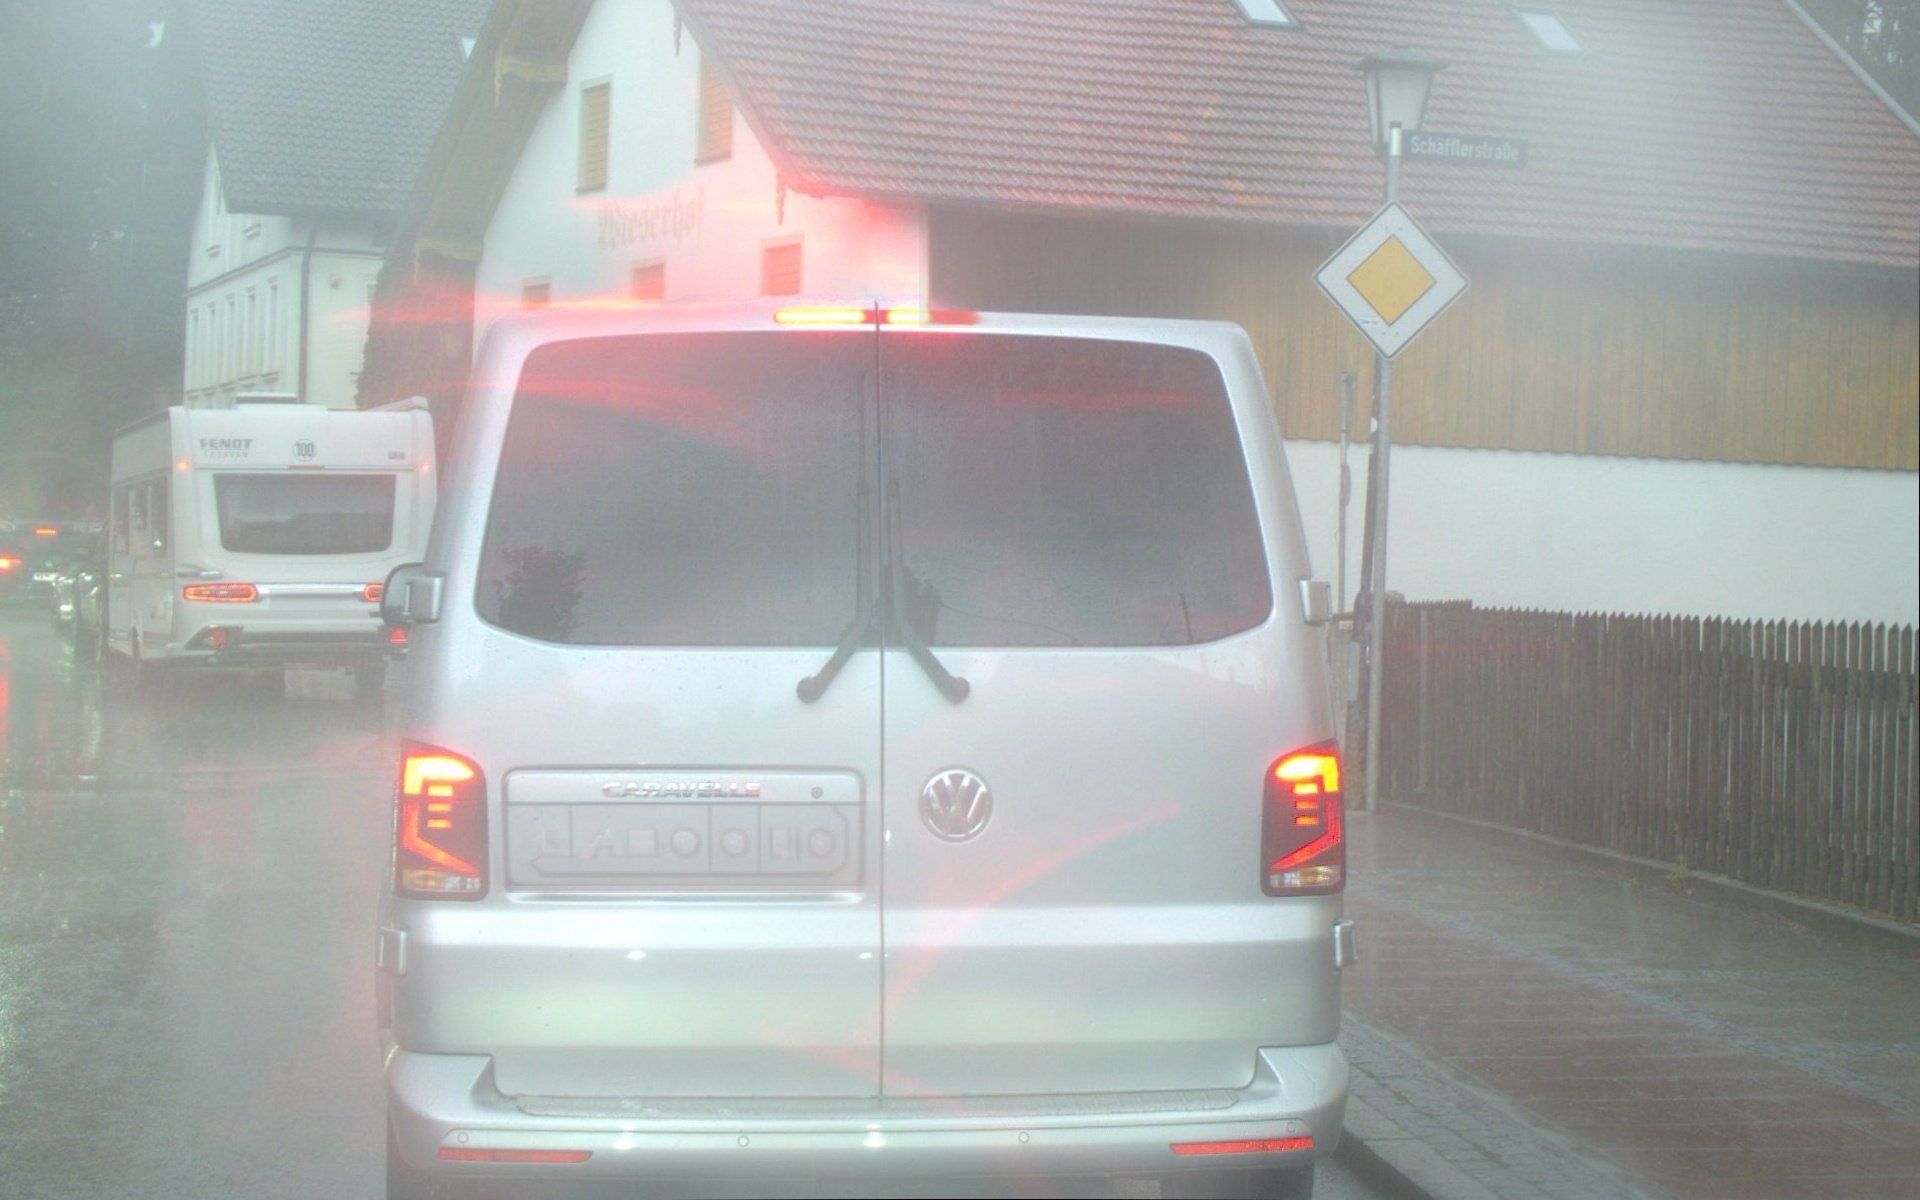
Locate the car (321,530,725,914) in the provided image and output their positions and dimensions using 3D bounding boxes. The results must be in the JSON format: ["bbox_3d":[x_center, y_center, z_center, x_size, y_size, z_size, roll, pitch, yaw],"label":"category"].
[{"bbox_3d":[-2.173,0.476,17.191,1.708,1.578,4.687,-1,2,-7],"label":"car"}]

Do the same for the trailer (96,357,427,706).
[{"bbox_3d":[-6.575,-0.615,31.745,2.270,2.894,6.134,0,1,-18],"label":"trailer"}]

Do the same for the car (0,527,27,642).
[{"bbox_3d":[-17.994,-0.353,61.046,2.168,1.892,5.016,2,1,-21],"label":"car"}]

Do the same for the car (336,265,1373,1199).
[{"bbox_3d":[-0.192,0.371,8.458,1.776,1.956,5.074,0,1,0],"label":"car"}]

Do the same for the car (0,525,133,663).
[{"bbox_3d":[-14.214,-0.144,52.893,2.168,1.892,5.016,2,1,-21],"label":"car"}]
